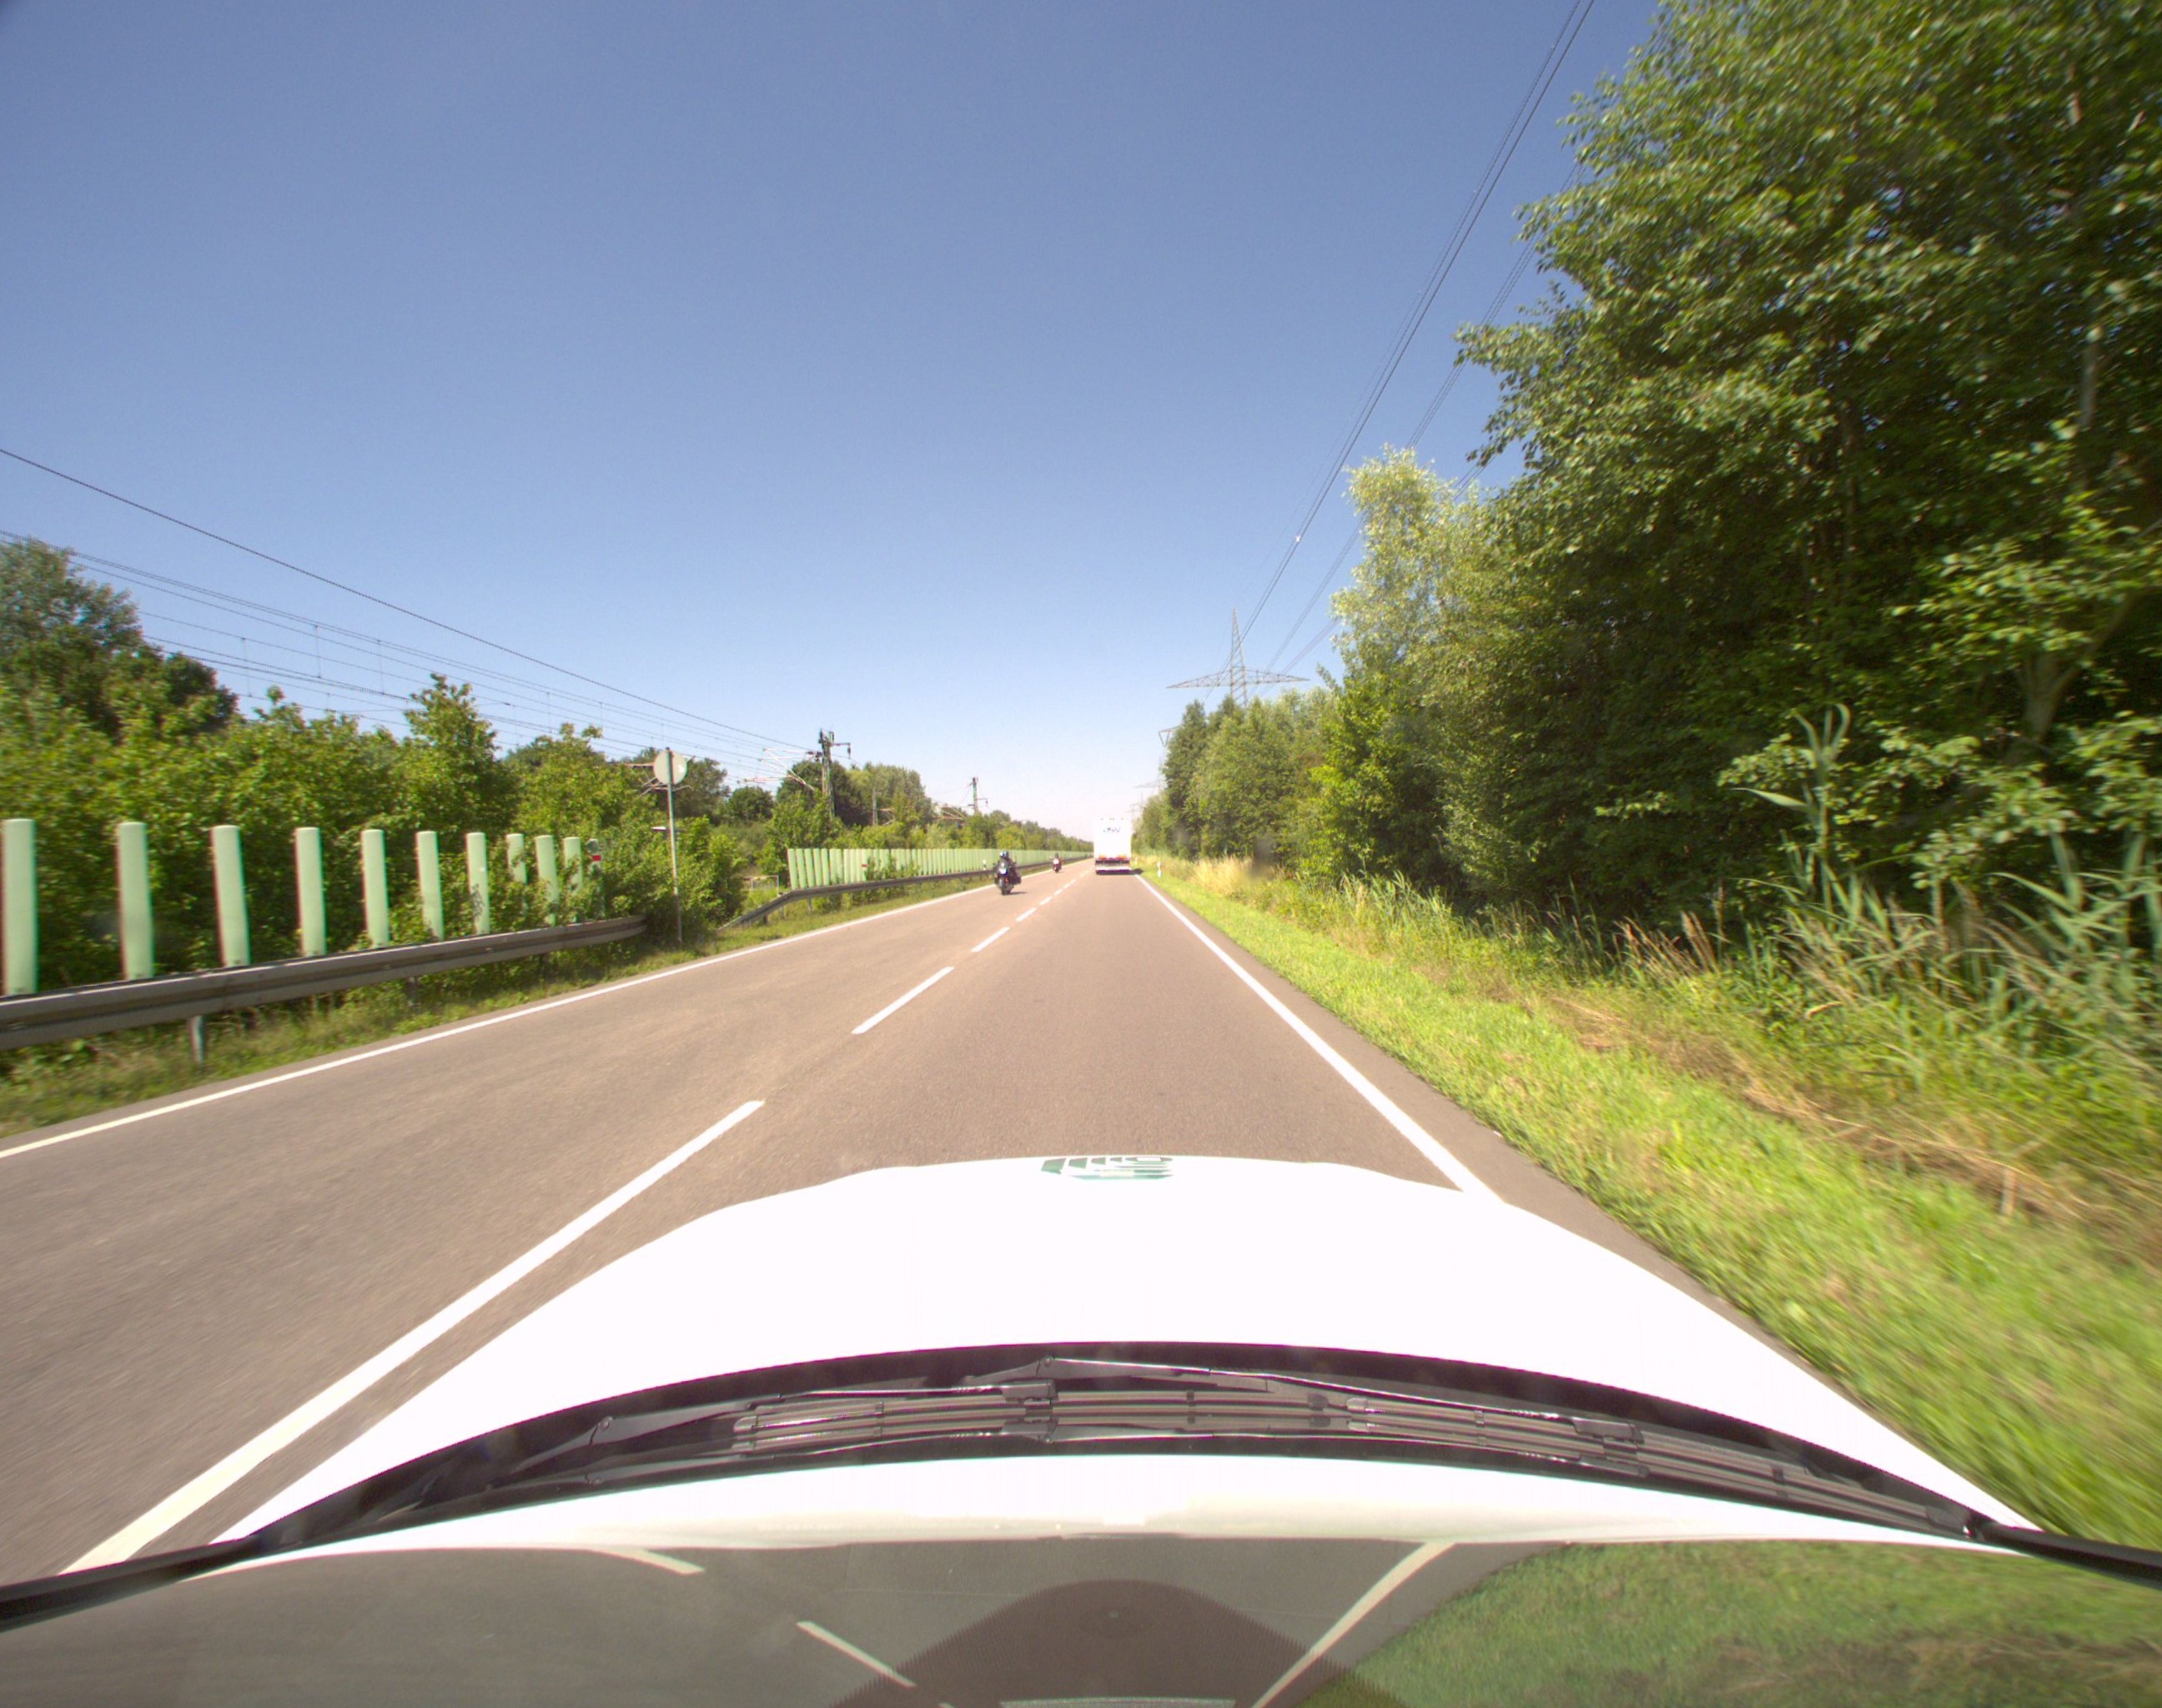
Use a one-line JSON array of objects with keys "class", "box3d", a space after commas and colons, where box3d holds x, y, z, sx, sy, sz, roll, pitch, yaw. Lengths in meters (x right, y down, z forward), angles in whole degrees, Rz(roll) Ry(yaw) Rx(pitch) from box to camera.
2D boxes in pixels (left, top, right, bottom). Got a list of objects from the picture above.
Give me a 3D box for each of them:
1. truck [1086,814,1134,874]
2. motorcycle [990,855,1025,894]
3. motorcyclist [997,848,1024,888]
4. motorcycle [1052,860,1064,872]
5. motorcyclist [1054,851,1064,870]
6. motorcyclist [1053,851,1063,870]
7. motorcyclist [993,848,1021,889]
[{"class": "truck", "box3d": [2.182, -0.681, 62.357, 3.180, 4.042, 12.011, -2, 0, 2]}, {"class": "motorcycle", "box3d": [-2.879, 0.783, 32.280, 0.964, 1.496, 2.632, 0, 0, 4]}, {"class": "motorcyclist", "box3d": [-2.834, 0.568, 32.983, 0.955, 1.609, 1.004, 0, -1, 3]}, {"class": "motorcycle", "box3d": [-1.949, 1.000, 68.503, 0.751, 1.014, 2.723, 0, 0, 4]}, {"class": "motorcyclist", "box3d": [-1.892, 0.559, 69.395, 0.746, 1.583, 0.864, 0, -1, 3]}, {"class": "motorcyclist", "box3d": [-1.951, 0.565, 68.435, 0.755, 1.583, 1.004, 0, -1, 3]}, {"class": "motorcyclist", "box3d": [-2.899, 0.568, 31.973, 0.955, 1.609, 1.004, 0, -1, 3]}]
